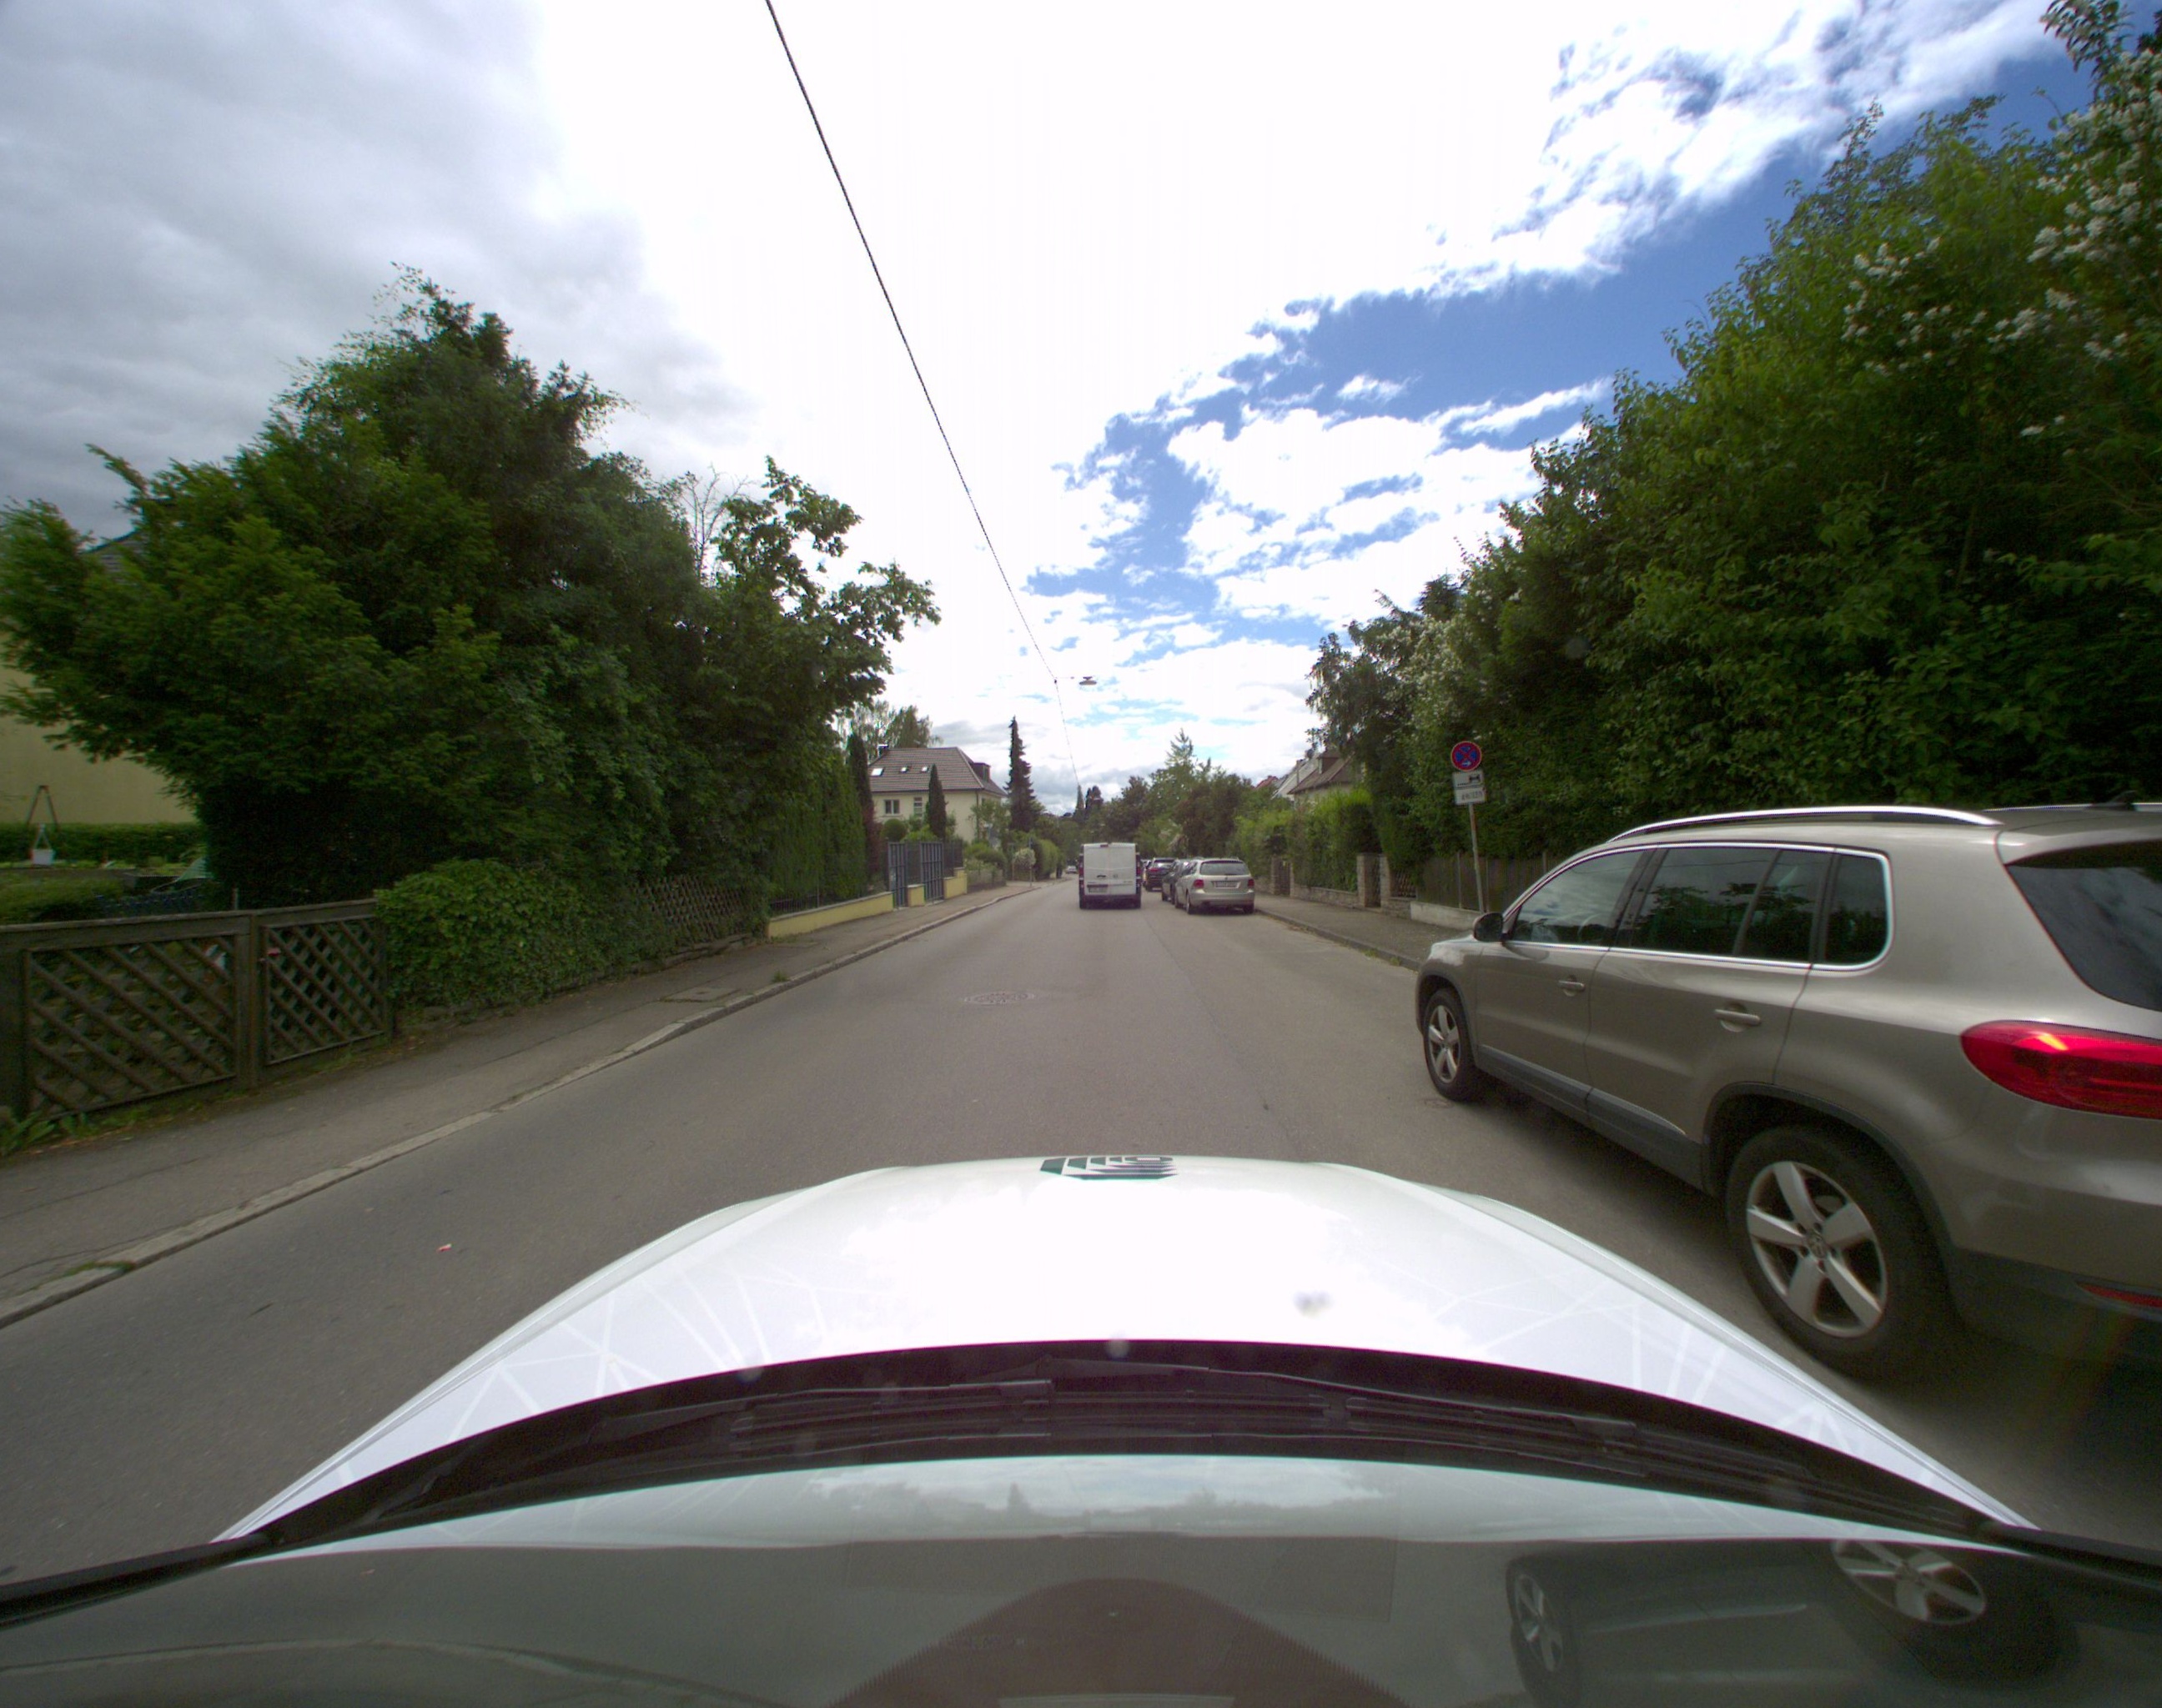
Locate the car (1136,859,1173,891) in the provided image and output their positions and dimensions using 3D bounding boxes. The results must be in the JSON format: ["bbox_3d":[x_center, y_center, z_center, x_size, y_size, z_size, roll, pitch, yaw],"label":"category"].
[{"bbox_3d":[4.194,1.160,47.031,1.738,1.629,4.260,-2,0,1],"label":"car"}]

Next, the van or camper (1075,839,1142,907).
[{"bbox_3d":[0.833,0.559,25.748,1.932,1.954,4.766,0,0,1],"label":"van or camper"}]

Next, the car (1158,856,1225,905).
[{"bbox_3d":[3.648,0.821,27.506,1.738,1.447,4.260,-2,0,1],"label":"car"}]

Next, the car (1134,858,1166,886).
[{"bbox_3d":[4.385,1.120,52.468,1.738,1.629,4.260,-2,0,1],"label":"car"}]

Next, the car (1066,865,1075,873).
[{"bbox_3d":[-2.084,3.119,167.214,1.738,1.525,4.013,-2,0,1],"label":"car"}]

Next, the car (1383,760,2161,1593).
[{"bbox_3d":[3.017,0.611,3.731,1.738,1.675,4.186,-2,0,1],"label":"car"}]

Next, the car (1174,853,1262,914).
[{"bbox_3d":[3.624,0.729,22.276,1.738,1.447,4.260,-2,0,1],"label":"car"}]

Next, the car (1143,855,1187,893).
[{"bbox_3d":[3.958,0.910,38.954,1.738,1.629,4.260,-2,0,1],"label":"car"}]
